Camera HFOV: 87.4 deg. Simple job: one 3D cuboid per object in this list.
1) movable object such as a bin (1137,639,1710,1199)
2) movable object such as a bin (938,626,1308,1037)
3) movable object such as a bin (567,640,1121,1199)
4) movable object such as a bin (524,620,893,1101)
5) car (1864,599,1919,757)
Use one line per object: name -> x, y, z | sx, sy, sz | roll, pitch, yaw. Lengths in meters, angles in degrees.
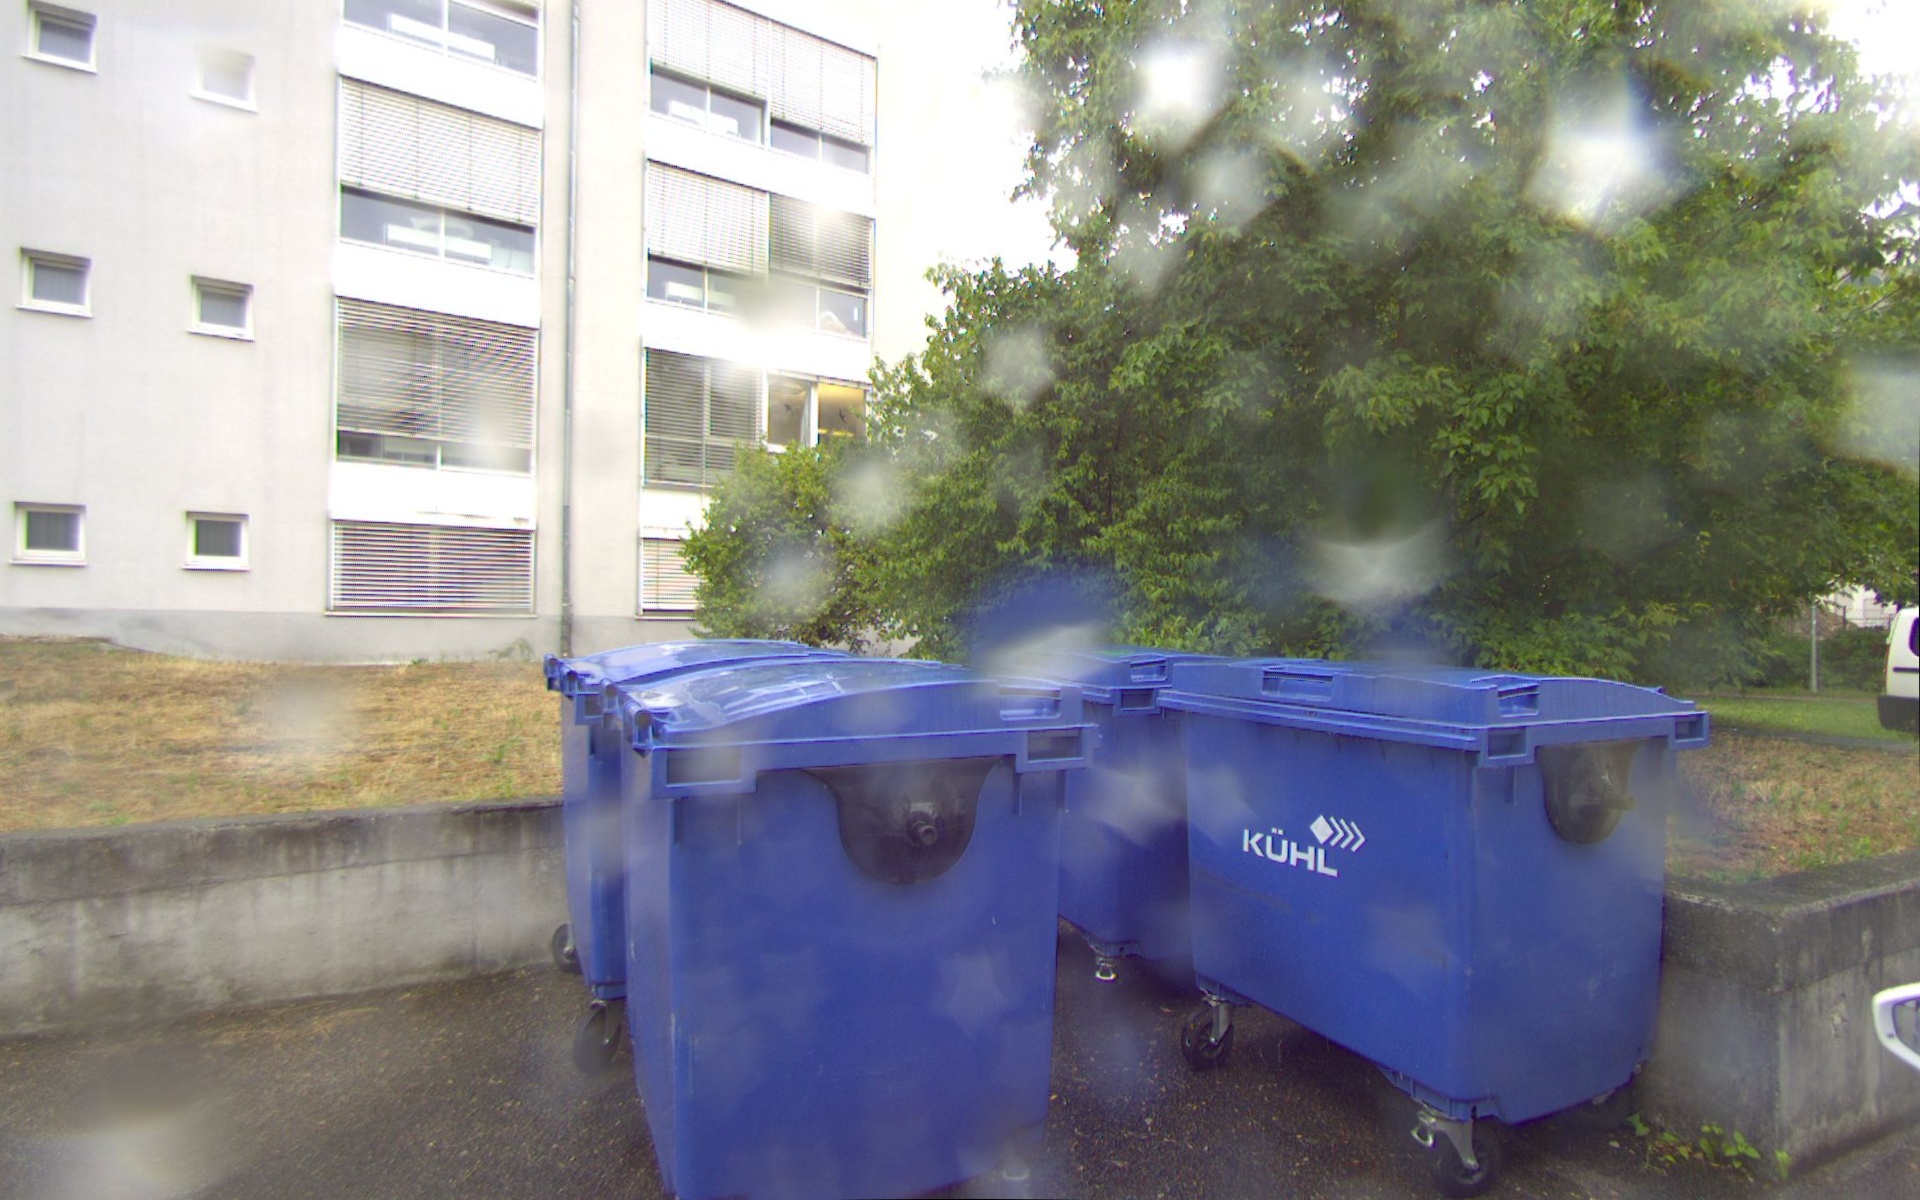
movable object such as a bin -> 1.298, 0.807, 3.012 | 0.993, 1.355, 1.217 | 1, -1, -26
movable object such as a bin -> 0.613, 0.797, 4.146 | 0.993, 1.355, 1.217 | 0, -1, -26
movable object such as a bin -> -0.386, 0.798, 2.552 | 1.101, 1.355, 1.200 | 2, -1, -22
movable object such as a bin -> -0.985, 0.783, 3.726 | 1.102, 1.355, 1.198 | -1, 1, -26
car -> 14.007, 0.963, 11.705 | 1.973, 2.040, 4.766 | 1, -2, -25
